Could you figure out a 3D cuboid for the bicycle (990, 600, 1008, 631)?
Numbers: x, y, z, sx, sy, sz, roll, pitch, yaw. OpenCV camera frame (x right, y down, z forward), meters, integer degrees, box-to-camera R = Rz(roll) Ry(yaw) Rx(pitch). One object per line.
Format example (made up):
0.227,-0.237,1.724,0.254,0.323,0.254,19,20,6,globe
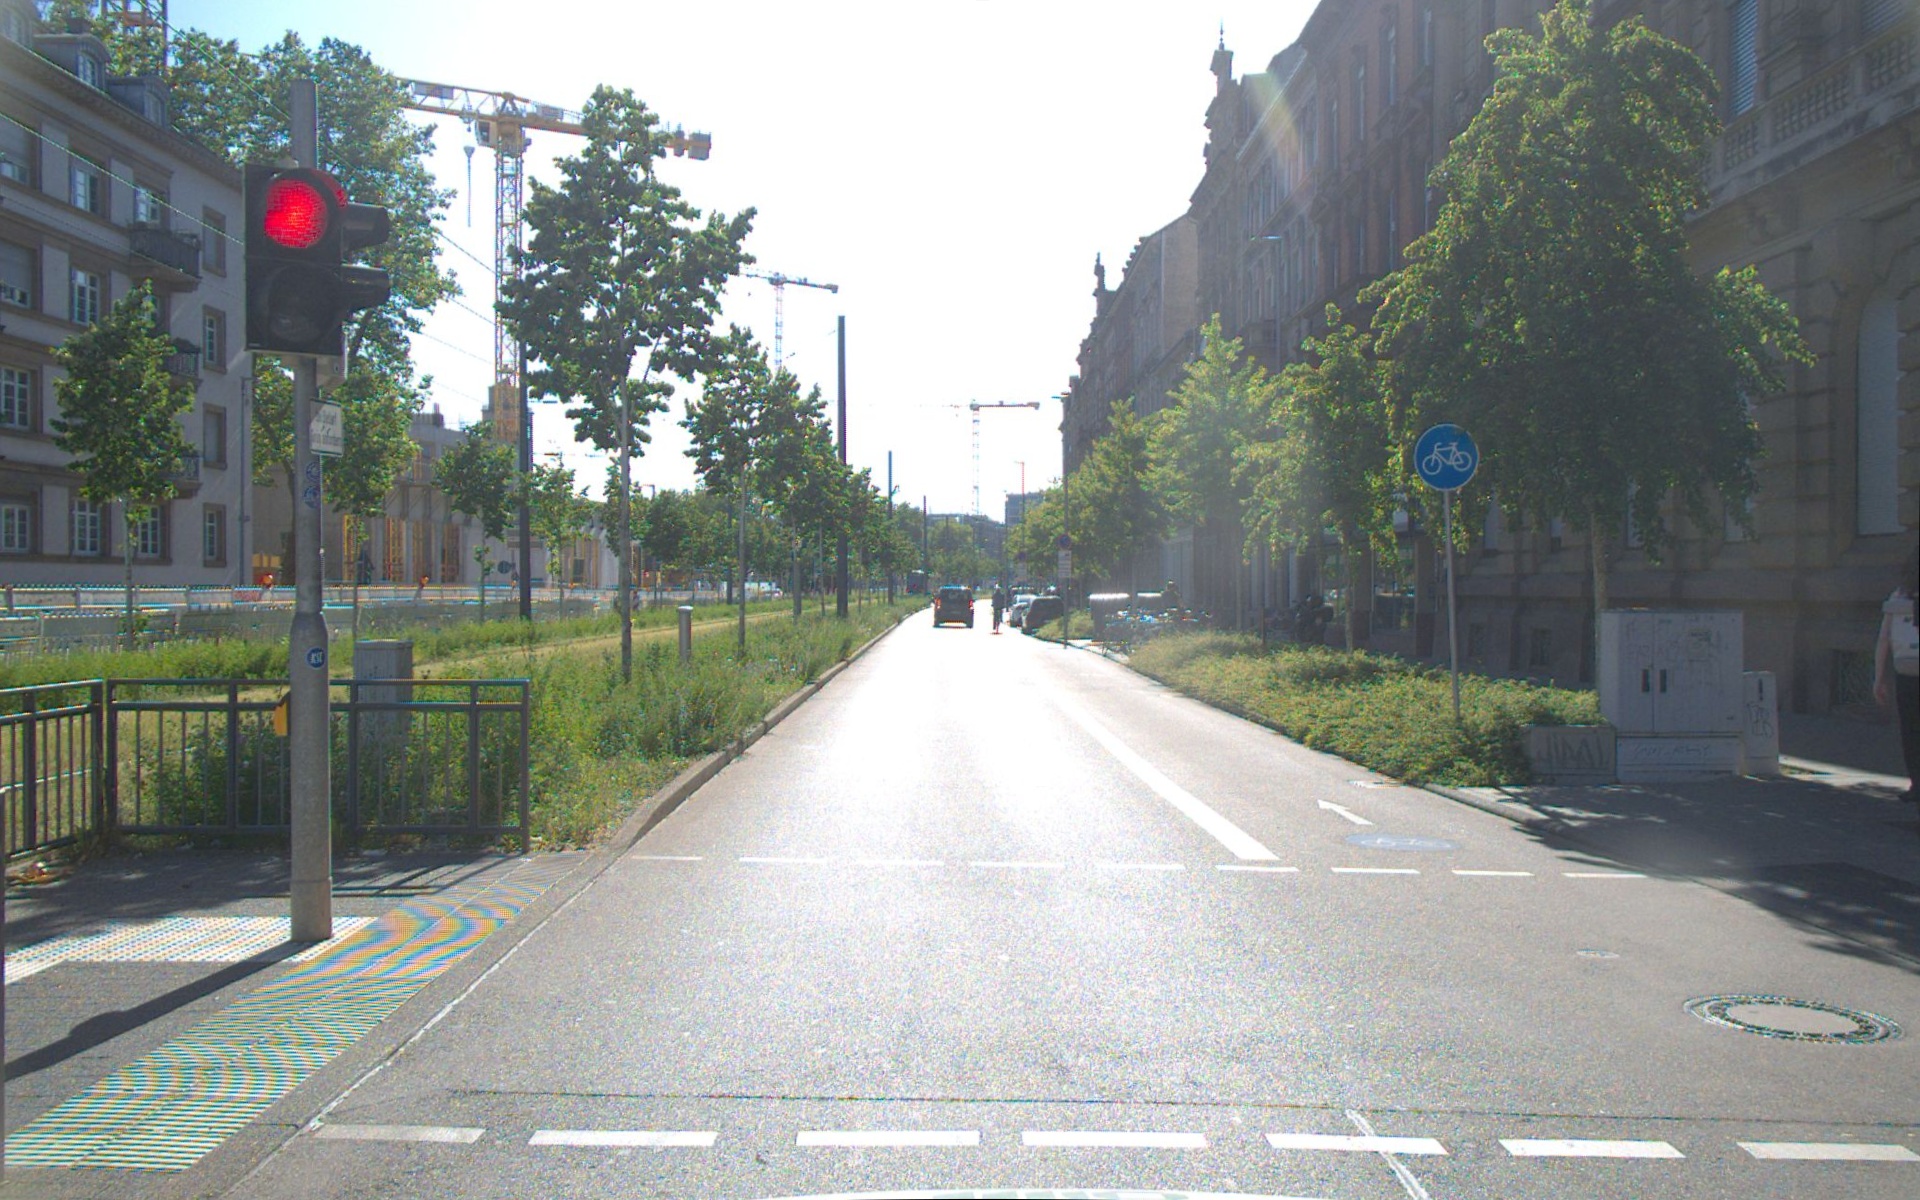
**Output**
1.575,0.623,66.864,0.589,1.201,1.869,2,0,-1,bicycle

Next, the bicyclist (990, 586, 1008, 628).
1.581,0.282,67.137,0.670,1.702,0.922,2,0,-2,bicyclist

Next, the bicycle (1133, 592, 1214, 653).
5.313,0.560,41.200,1.855,1.353,0.617,-4,0,2,bicycle

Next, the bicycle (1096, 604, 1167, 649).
4.545,0.702,43.979,1.756,1.048,0.527,-4,0,-1,bicycle

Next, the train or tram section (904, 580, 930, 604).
-5.294,-0.986,203.450,2.699,2.790,9.864,1,0,1,train or tram section

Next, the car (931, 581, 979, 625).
-0.266,0.125,76.342,2.155,1.960,4.653,0,0,-1,car

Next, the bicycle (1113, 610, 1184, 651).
4.855,0.779,42.562,1.756,1.048,0.527,0,0,-1,bicycle

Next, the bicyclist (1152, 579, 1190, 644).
5.253,0.282,41.191,0.782,1.556,0.663,-4,0,2,bicyclist

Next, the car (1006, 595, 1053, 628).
3.338,0.518,79.810,1.987,1.525,4.529,0,0,-1,car

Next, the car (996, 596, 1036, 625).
3.091,0.563,92.333,1.987,1.525,4.529,0,0,-1,car

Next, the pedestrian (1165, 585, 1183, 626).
8.474,0.214,65.469,0.601,1.640,0.669,0,0,-1,pedestrian

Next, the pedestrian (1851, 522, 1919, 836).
6.302,0.481,10.615,1.067,1.942,0.645,-1,0,-37,pedestrian

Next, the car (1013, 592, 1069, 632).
3.263,0.459,67.382,1.987,1.525,4.653,0,0,-1,car

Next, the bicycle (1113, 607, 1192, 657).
4.610,0.767,39.651,1.756,1.048,0.527,-4,0,-1,bicycle

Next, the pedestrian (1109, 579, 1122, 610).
8.470,-0.298,90.224,0.601,1.640,0.669,0,0,-1,pedestrian

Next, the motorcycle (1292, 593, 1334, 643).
9.438,0.456,44.288,0.686,1.289,1.981,0,0,-1,motorcycle

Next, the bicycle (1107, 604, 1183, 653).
4.580,0.702,40.974,1.756,1.048,0.527,-4,0,-1,bicycle
